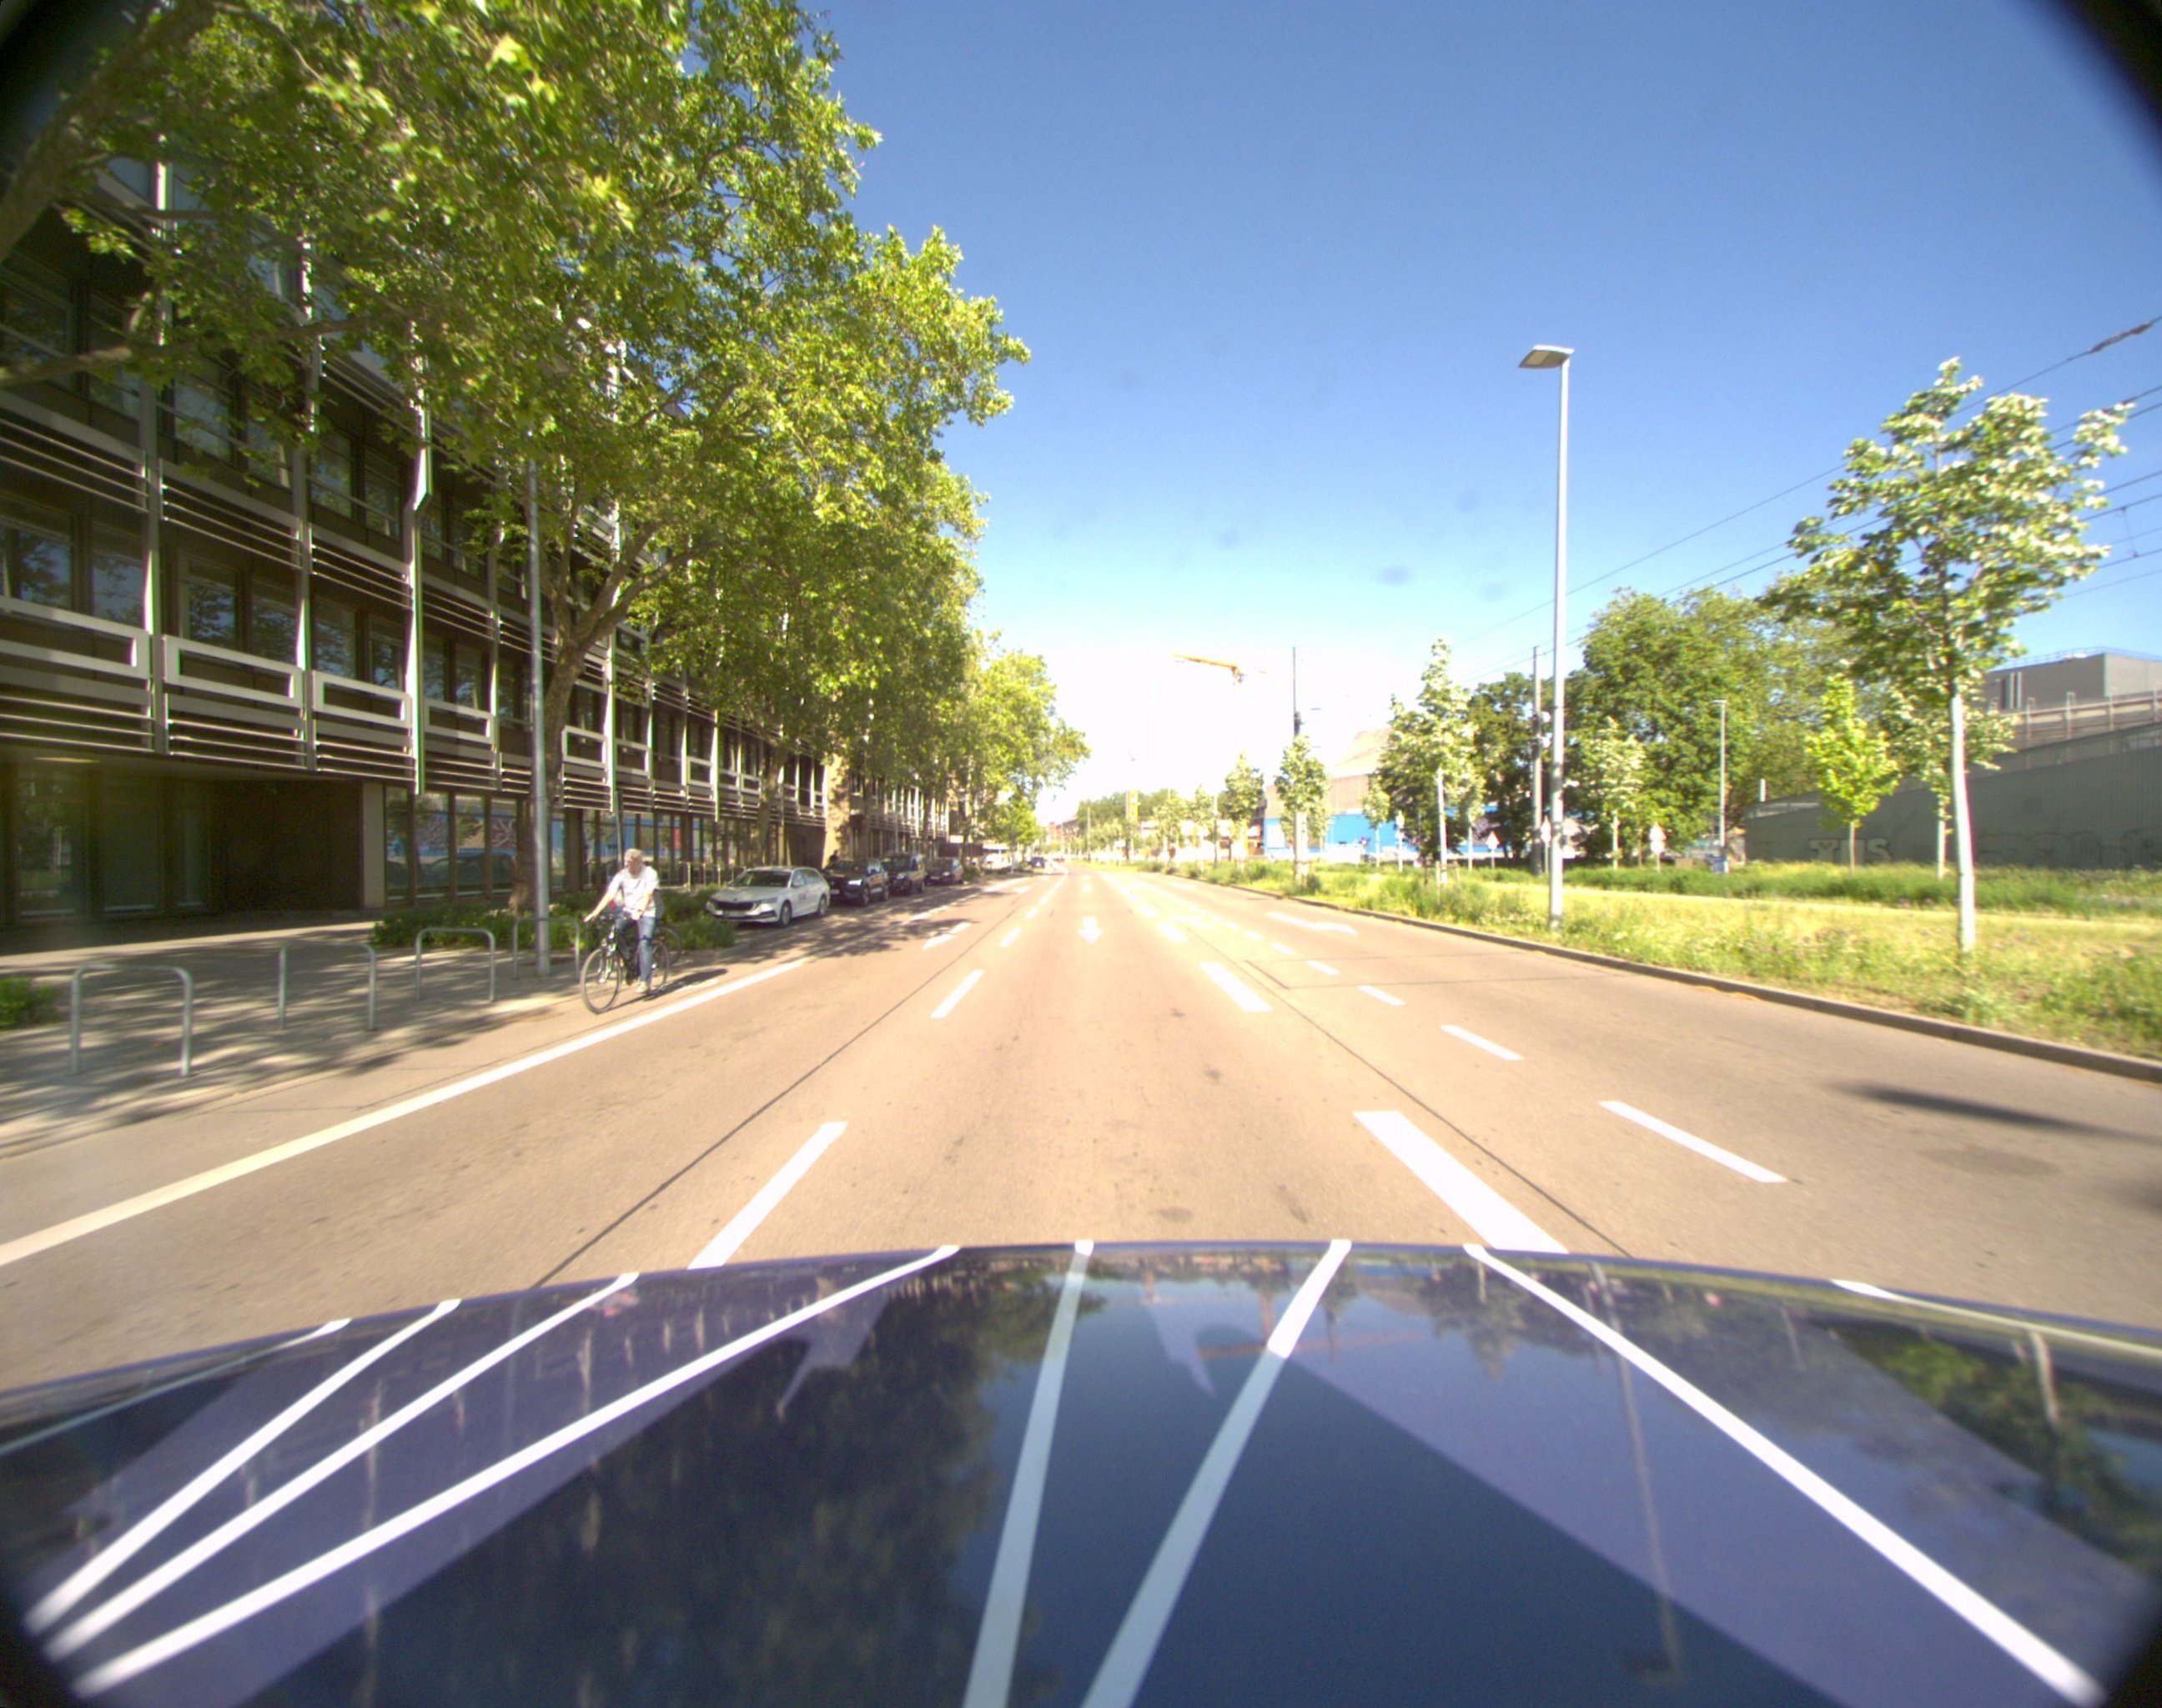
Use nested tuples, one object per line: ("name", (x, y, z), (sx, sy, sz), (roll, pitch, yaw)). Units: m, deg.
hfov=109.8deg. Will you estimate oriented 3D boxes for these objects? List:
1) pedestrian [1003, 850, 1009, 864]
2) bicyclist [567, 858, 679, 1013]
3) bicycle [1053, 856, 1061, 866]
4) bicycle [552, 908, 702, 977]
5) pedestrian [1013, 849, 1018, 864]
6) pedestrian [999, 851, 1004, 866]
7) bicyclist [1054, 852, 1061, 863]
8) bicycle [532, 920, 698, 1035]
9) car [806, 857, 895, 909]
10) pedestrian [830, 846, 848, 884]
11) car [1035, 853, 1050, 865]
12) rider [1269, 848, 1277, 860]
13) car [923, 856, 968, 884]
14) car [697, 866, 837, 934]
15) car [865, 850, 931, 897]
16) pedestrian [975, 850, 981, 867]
("pedestrian", (-9.632, 0.421, 97.667), (0.591, 1.830, 0.569), (-1, 1, 0))
("bicyclist", (-5.296, 0.903, 8.838), (0.711, 1.678, 0.852), (-3, 0, -1))
("bicycle", (-2.874, 0.874, 92.725), (0.845, 1.123, 2.553), (-1, 0, 1))
("bicycle", (-6.954, 1.347, 11.705), (1.849, 0.954, 0.711), (1, 0, -4))
("pedestrian", (-8.269, 0.300, 95.871), (0.591, 1.830, 0.569), (-1, 1, 0))
("pedestrian", (-9.745, 0.516, 93.039), (0.591, 1.830, 0.696), (-1, 1, 0))
("bicyclist", (-2.871, 0.415, 92.723), (0.830, 1.380, 0.904), (-1, 0, 1))
("bicycle", (-5.271, 1.354, 8.768), (0.711, 0.987, 1.923), (-3, 0, -1))
("car", (-7.928, 0.929, 26.530), (1.752, 1.624, 4.337), (1, 0, 0))
("pedestrian", (-12.899, 0.581, 40.548), (0.741, 2.002, 0.626), (-1, 1, -1))
("car", (-5.406, 0.695, 106.501), (1.999, 1.597, 3.895), (-1, 0, -1))
("rider", (22.801, 0.008, 90.353), (0.724, 1.513, 0.631), (-1, 1, -2))
("car", (-7.717, 0.880, 43.704), (1.752, 1.545, 4.337), (1, 0, 0))
("car", (-7.990, 1.101, 19.849), (1.752, 1.481, 4.560), (1, 0, 0))
("car", (-7.681, 0.770, 32.295), (1.752, 1.810, 4.337), (1, 0, 0))
("pedestrian", (-11.129, 0.490, 82.044), (0.591, 1.830, 0.697), (-1, 1, 0))
